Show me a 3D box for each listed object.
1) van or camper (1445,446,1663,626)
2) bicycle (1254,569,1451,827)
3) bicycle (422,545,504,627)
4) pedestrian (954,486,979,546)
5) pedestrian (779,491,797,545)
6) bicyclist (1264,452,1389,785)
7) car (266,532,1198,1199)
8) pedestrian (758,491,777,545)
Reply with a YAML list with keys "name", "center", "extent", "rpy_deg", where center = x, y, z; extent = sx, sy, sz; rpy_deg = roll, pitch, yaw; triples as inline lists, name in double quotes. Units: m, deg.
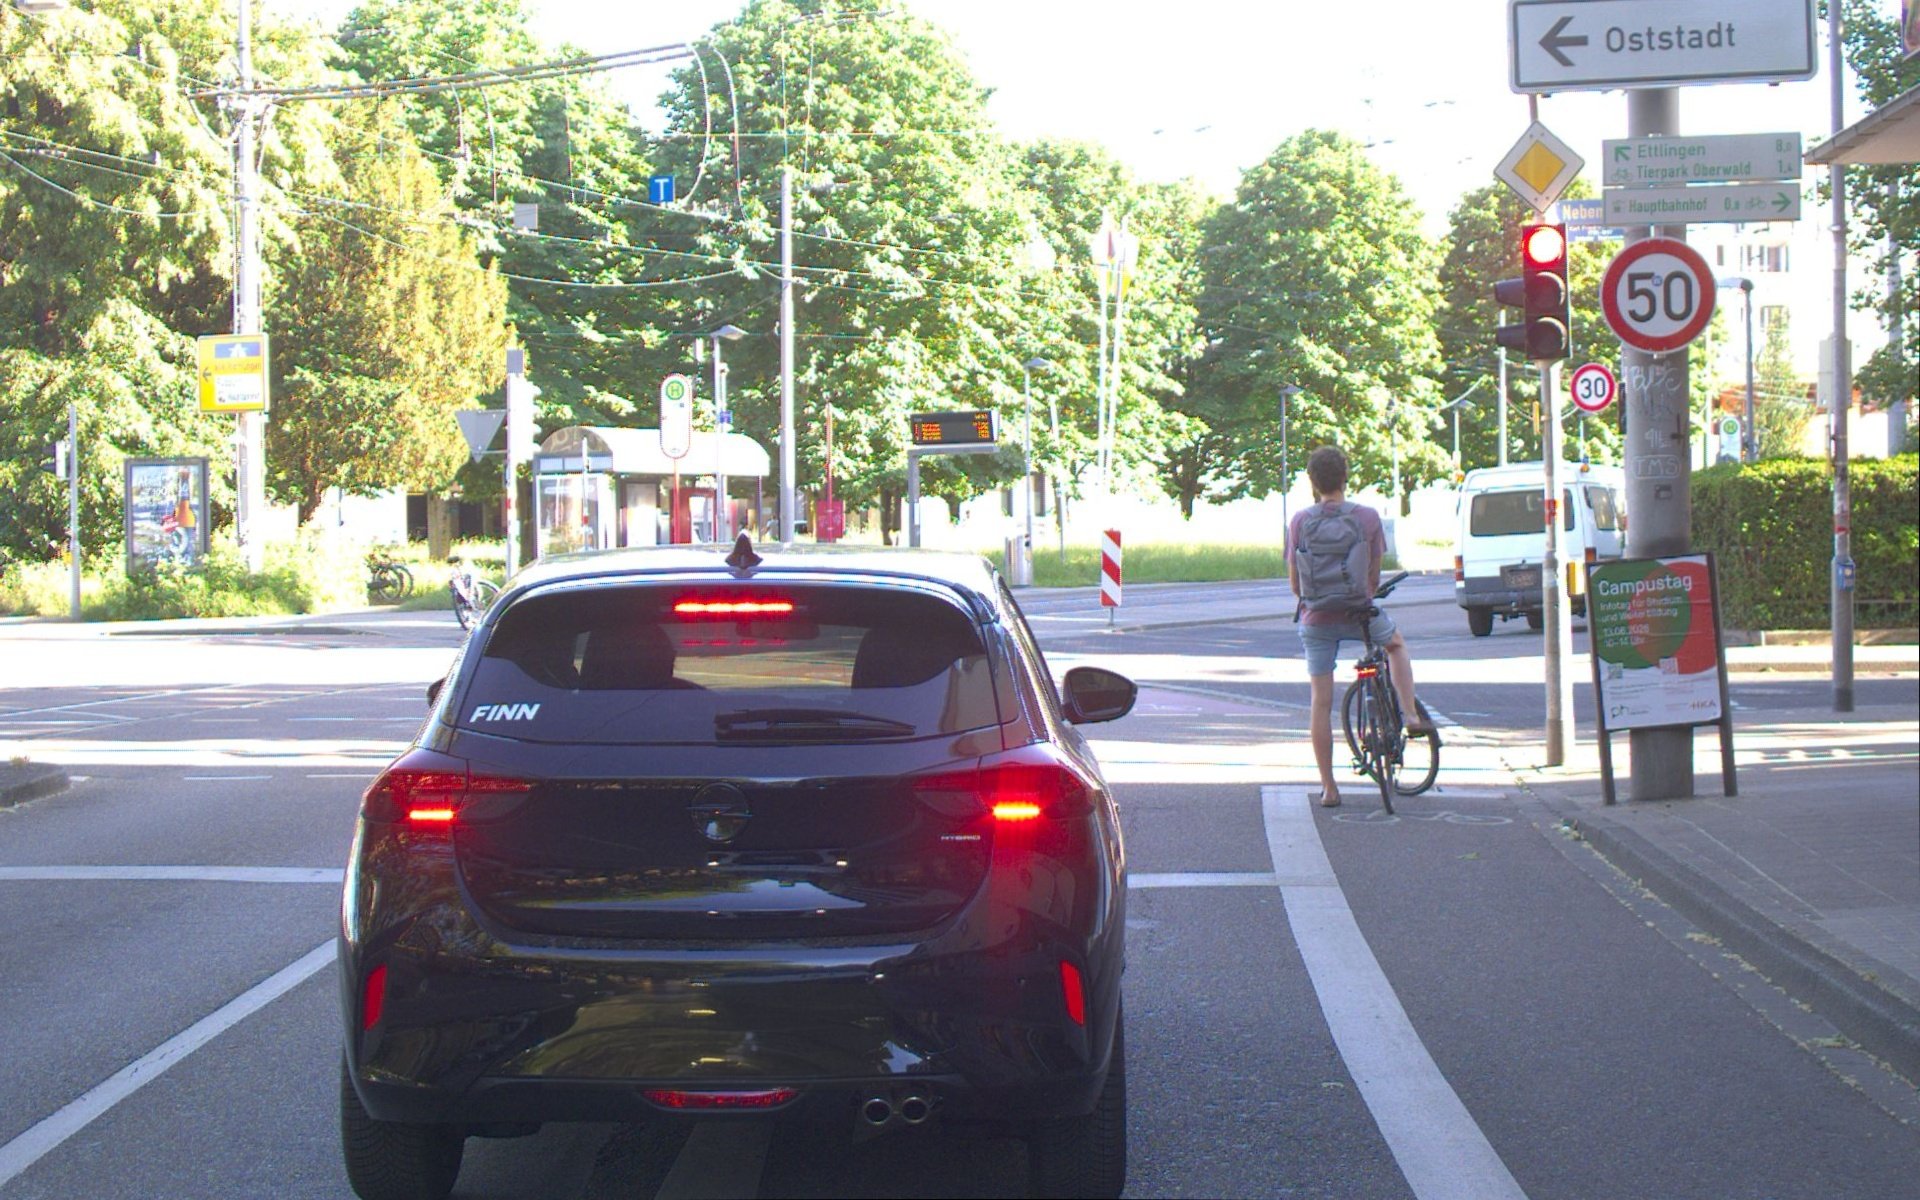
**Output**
- name: "van or camper"
  center: [8.063, -0.840, 46.348]
  extent: [2.031, 2.302, 4.535]
  rpy_deg: [1, 1, 21]
- name: "bicycle"
  center: [2.071, 0.473, 17.894]
  extent: [0.753, 1.231, 2.014]
  rpy_deg: [0, 1, 14]
- name: "bicycle"
  center: [-6.669, -0.200, 46.230]
  extent: [0.796, 1.061, 2.185]
  rpy_deg: [0, 1, -1]
- name: "pedestrian"
  center: [0.208, -2.638, 108.374]
  extent: [0.603, 1.865, 0.519]
  rpy_deg: [1, 0, -28]
- name: "pedestrian"
  center: [-5.965, -2.834, 119.215]
  extent: [0.603, 1.865, 0.519]
  rpy_deg: [1, 0, -6]
- name: "bicyclist"
  center: [1.898, 0.088, 17.763]
  extent: [0.534, 1.686, 0.567]
  rpy_deg: [0, 1, 17]
- name: "car"
  center: [-0.474, 0.567, 8.802]
  extent: [1.840, 1.457, 3.984]
  rpy_deg: [0, 1, -1]
- name: "pedestrian"
  center: [-6.742, -2.856, 120.346]
  extent: [0.603, 1.865, 0.519]
  rpy_deg: [1, 0, -6]
